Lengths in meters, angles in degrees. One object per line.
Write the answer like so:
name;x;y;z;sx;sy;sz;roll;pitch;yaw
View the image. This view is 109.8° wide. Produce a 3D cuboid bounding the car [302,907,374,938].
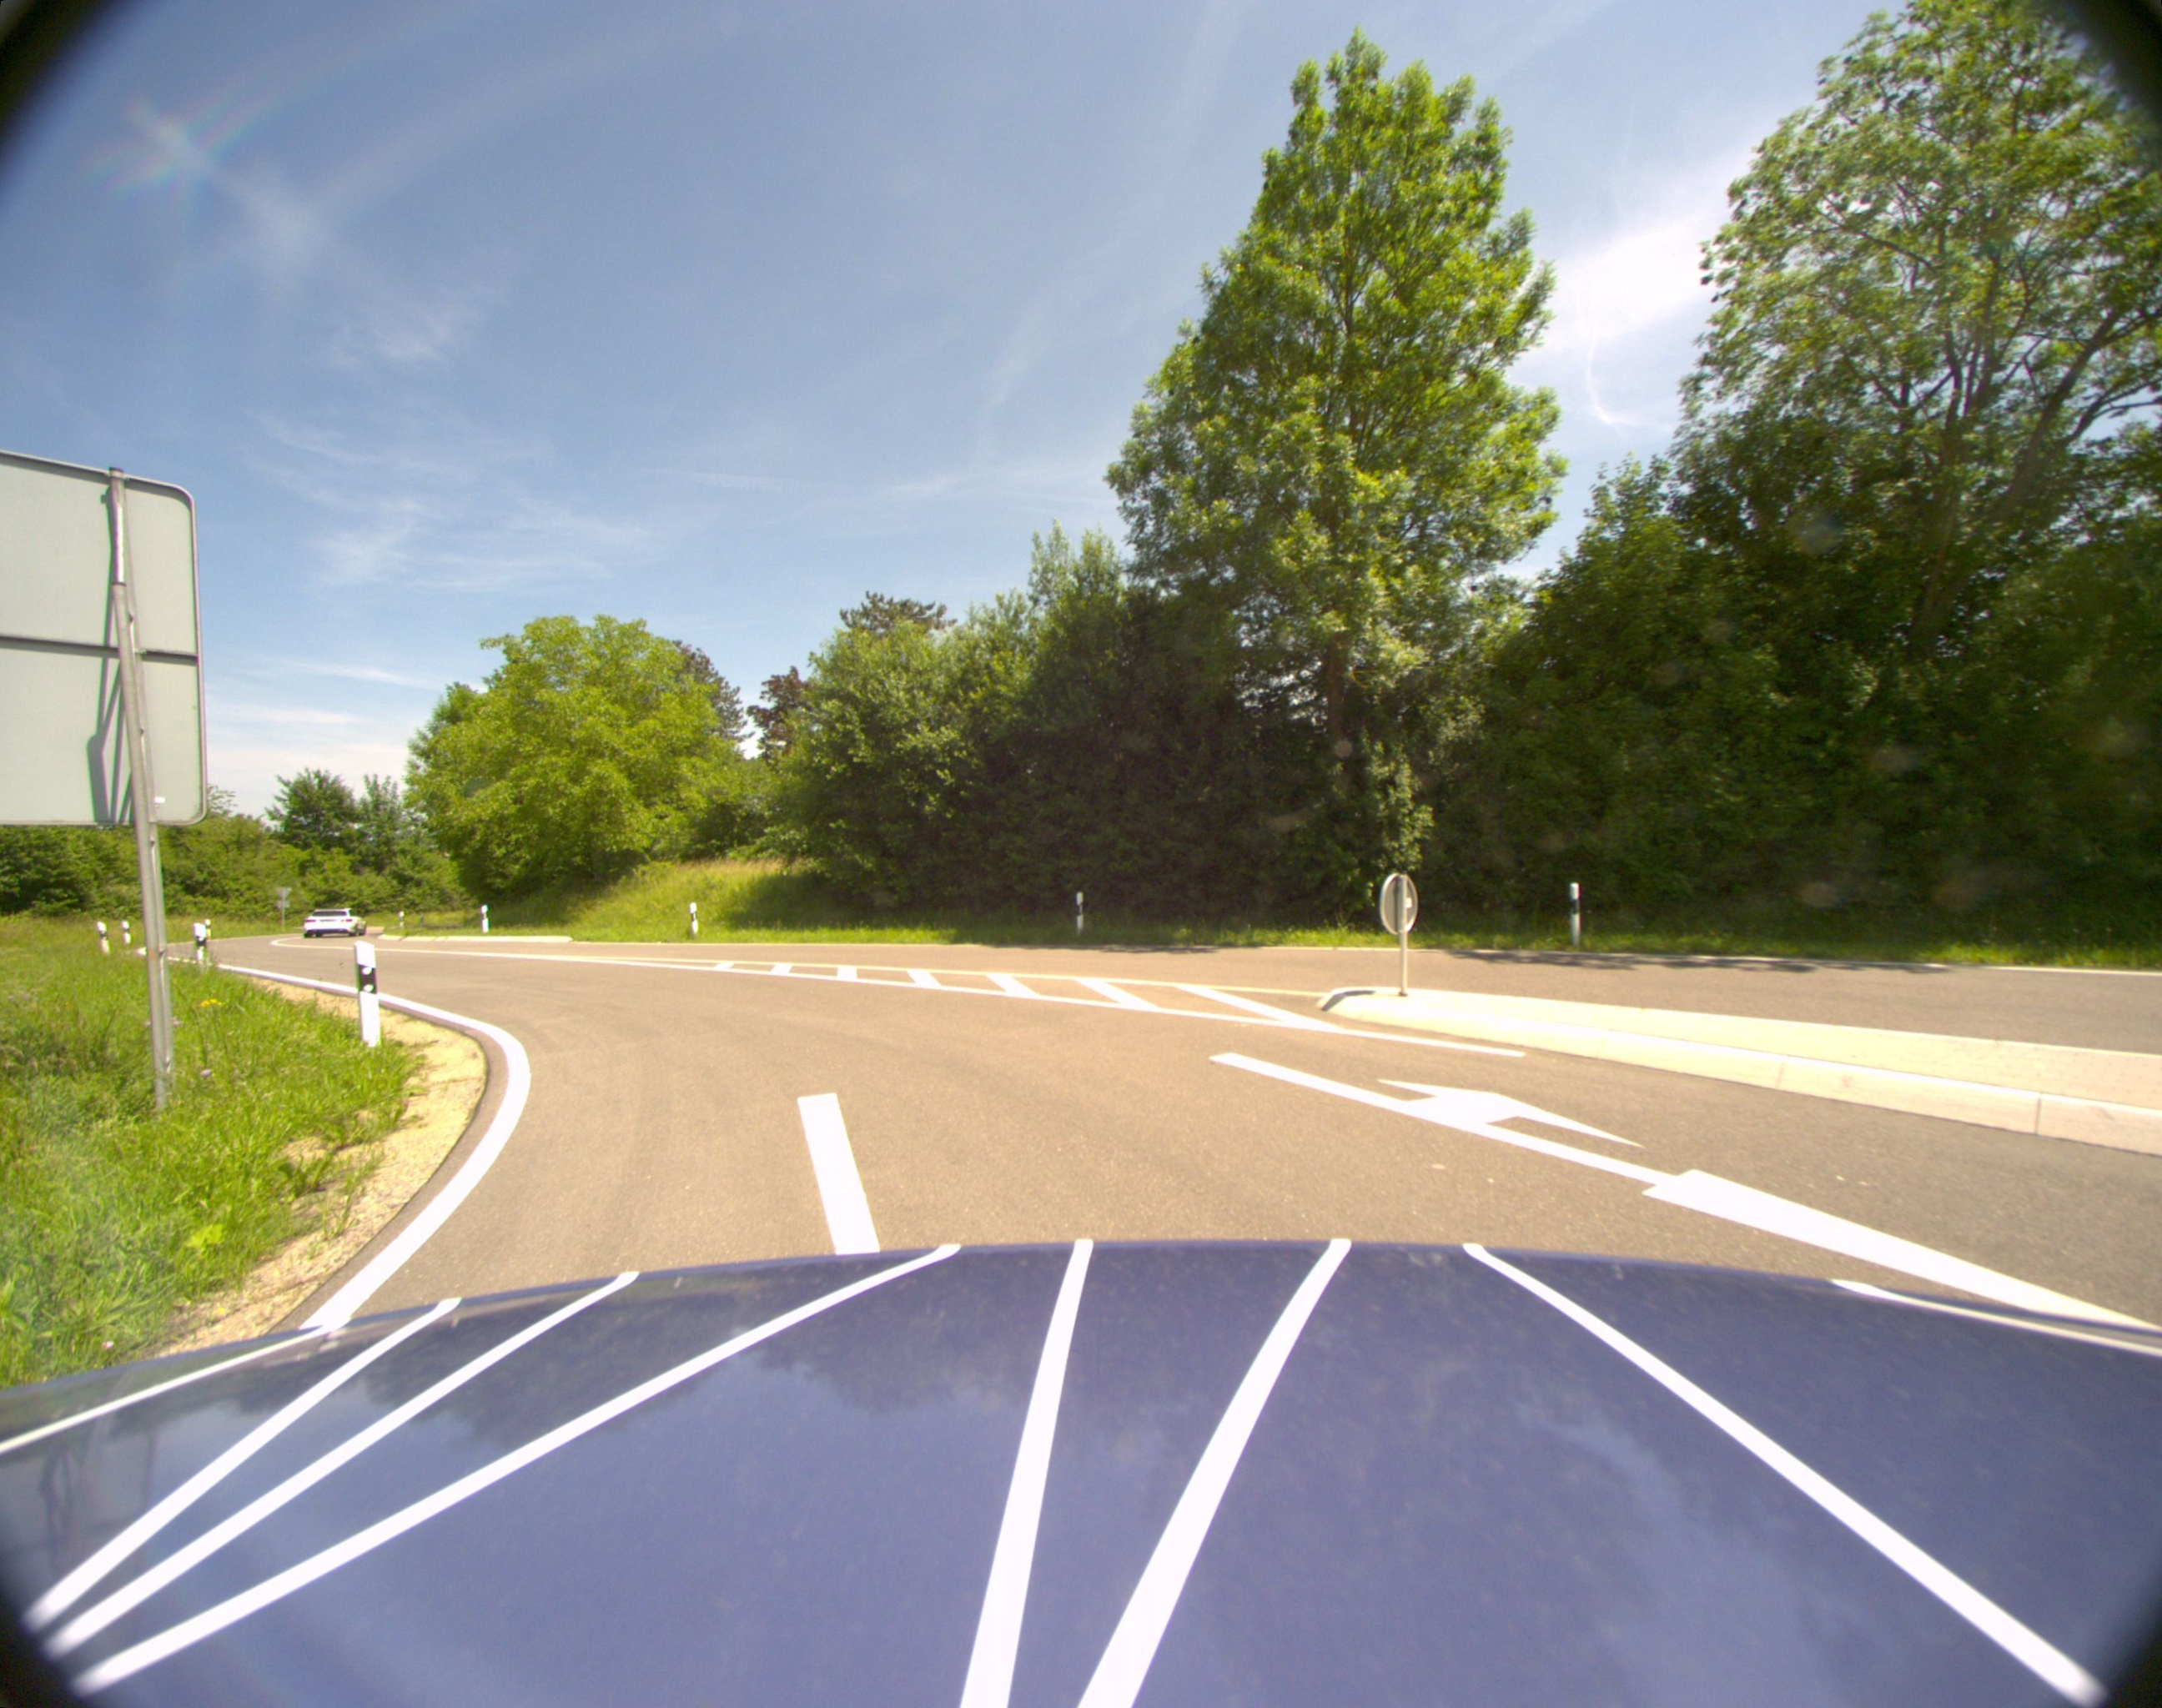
car;-37.592;3.433;38.569;1.814;1.403;5.323;0;-3;-36
